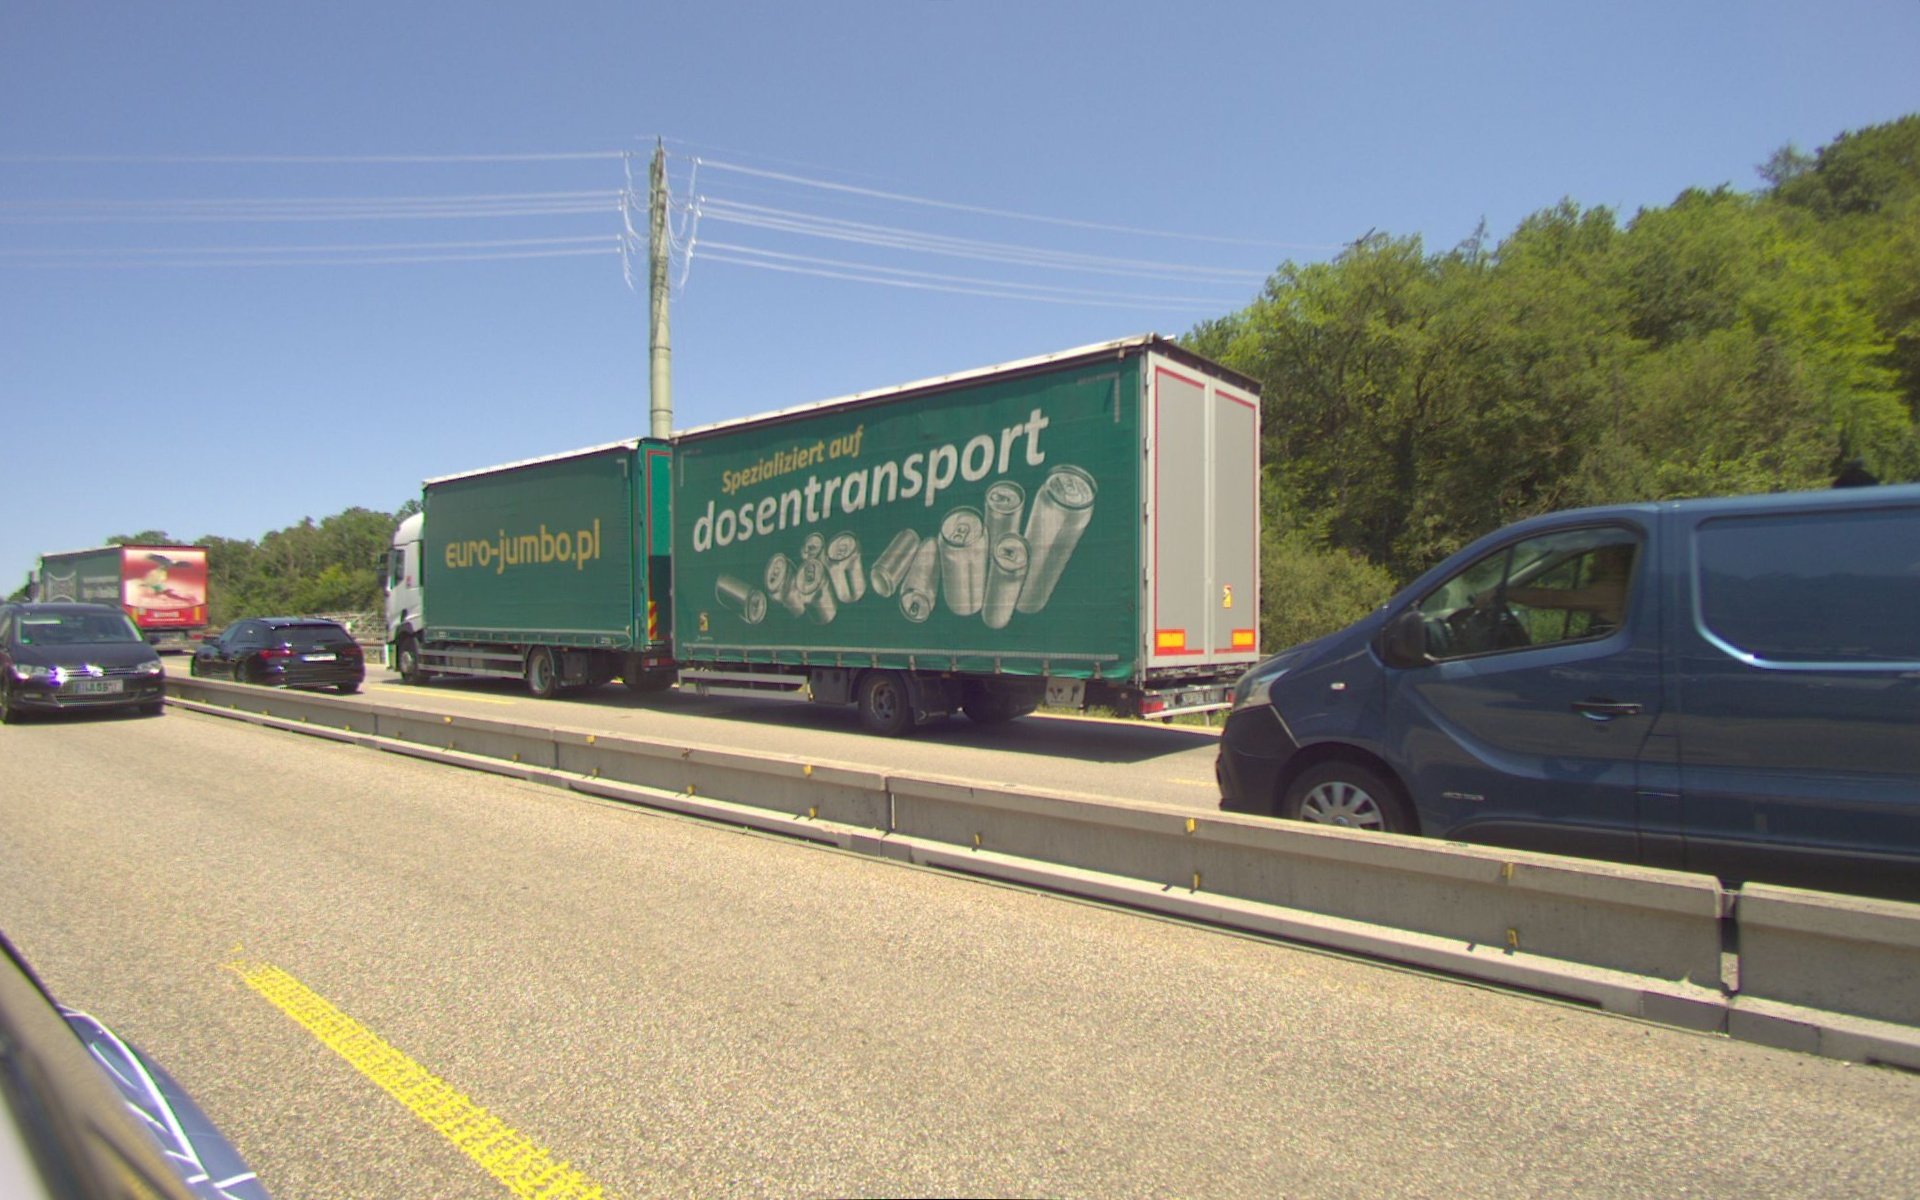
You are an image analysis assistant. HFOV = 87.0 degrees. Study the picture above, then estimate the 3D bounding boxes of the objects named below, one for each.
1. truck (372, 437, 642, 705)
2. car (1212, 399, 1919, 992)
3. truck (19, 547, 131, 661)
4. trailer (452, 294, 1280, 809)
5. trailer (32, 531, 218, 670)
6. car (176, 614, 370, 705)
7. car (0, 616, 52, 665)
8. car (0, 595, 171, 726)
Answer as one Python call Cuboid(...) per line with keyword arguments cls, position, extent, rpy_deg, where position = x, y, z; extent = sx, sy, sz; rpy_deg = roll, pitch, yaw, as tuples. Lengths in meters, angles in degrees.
Cuboid(cls="truck", position=(-9.240, -0.507, 20.407), extent=(5.785, 4.614, 2.817), rpy_deg=(0, 0, 41))
Cuboid(cls="car", position=(3.854, 0.351, 4.776), extent=(4.830, 2.189, 1.973), rpy_deg=(0, 0, 41))
Cuboid(cls="truck", position=(-39.857, 0.217, 45.557), extent=(4.639, 4.858, 3.031), rpy_deg=(-1, -1, 38))
Cuboid(cls="trailer", position=(-2.861, -0.456, 14.978), extent=(14.569, 4.676, 2.805), rpy_deg=(0, 0, 40))
Cuboid(cls="trailer", position=(-34.173, 0.139, 41.067), extent=(13.984, 4.852, 3.035), rpy_deg=(-1, -1, 39))
Cuboid(cls="car", position=(-13.186, 1.035, 19.315), extent=(4.754, 1.473, 1.882), rpy_deg=(0, 0, 41))
Cuboid(cls="car", position=(-34.274, 1.419, 36.384), extent=(4.112, 1.694, 1.936), rpy_deg=(-1, -1, 41))
Cuboid(cls="car", position=(-14.030, 0.851, 15.712), extent=(5.301, 1.719, 1.837), rpy_deg=(-2, -1, 41))
